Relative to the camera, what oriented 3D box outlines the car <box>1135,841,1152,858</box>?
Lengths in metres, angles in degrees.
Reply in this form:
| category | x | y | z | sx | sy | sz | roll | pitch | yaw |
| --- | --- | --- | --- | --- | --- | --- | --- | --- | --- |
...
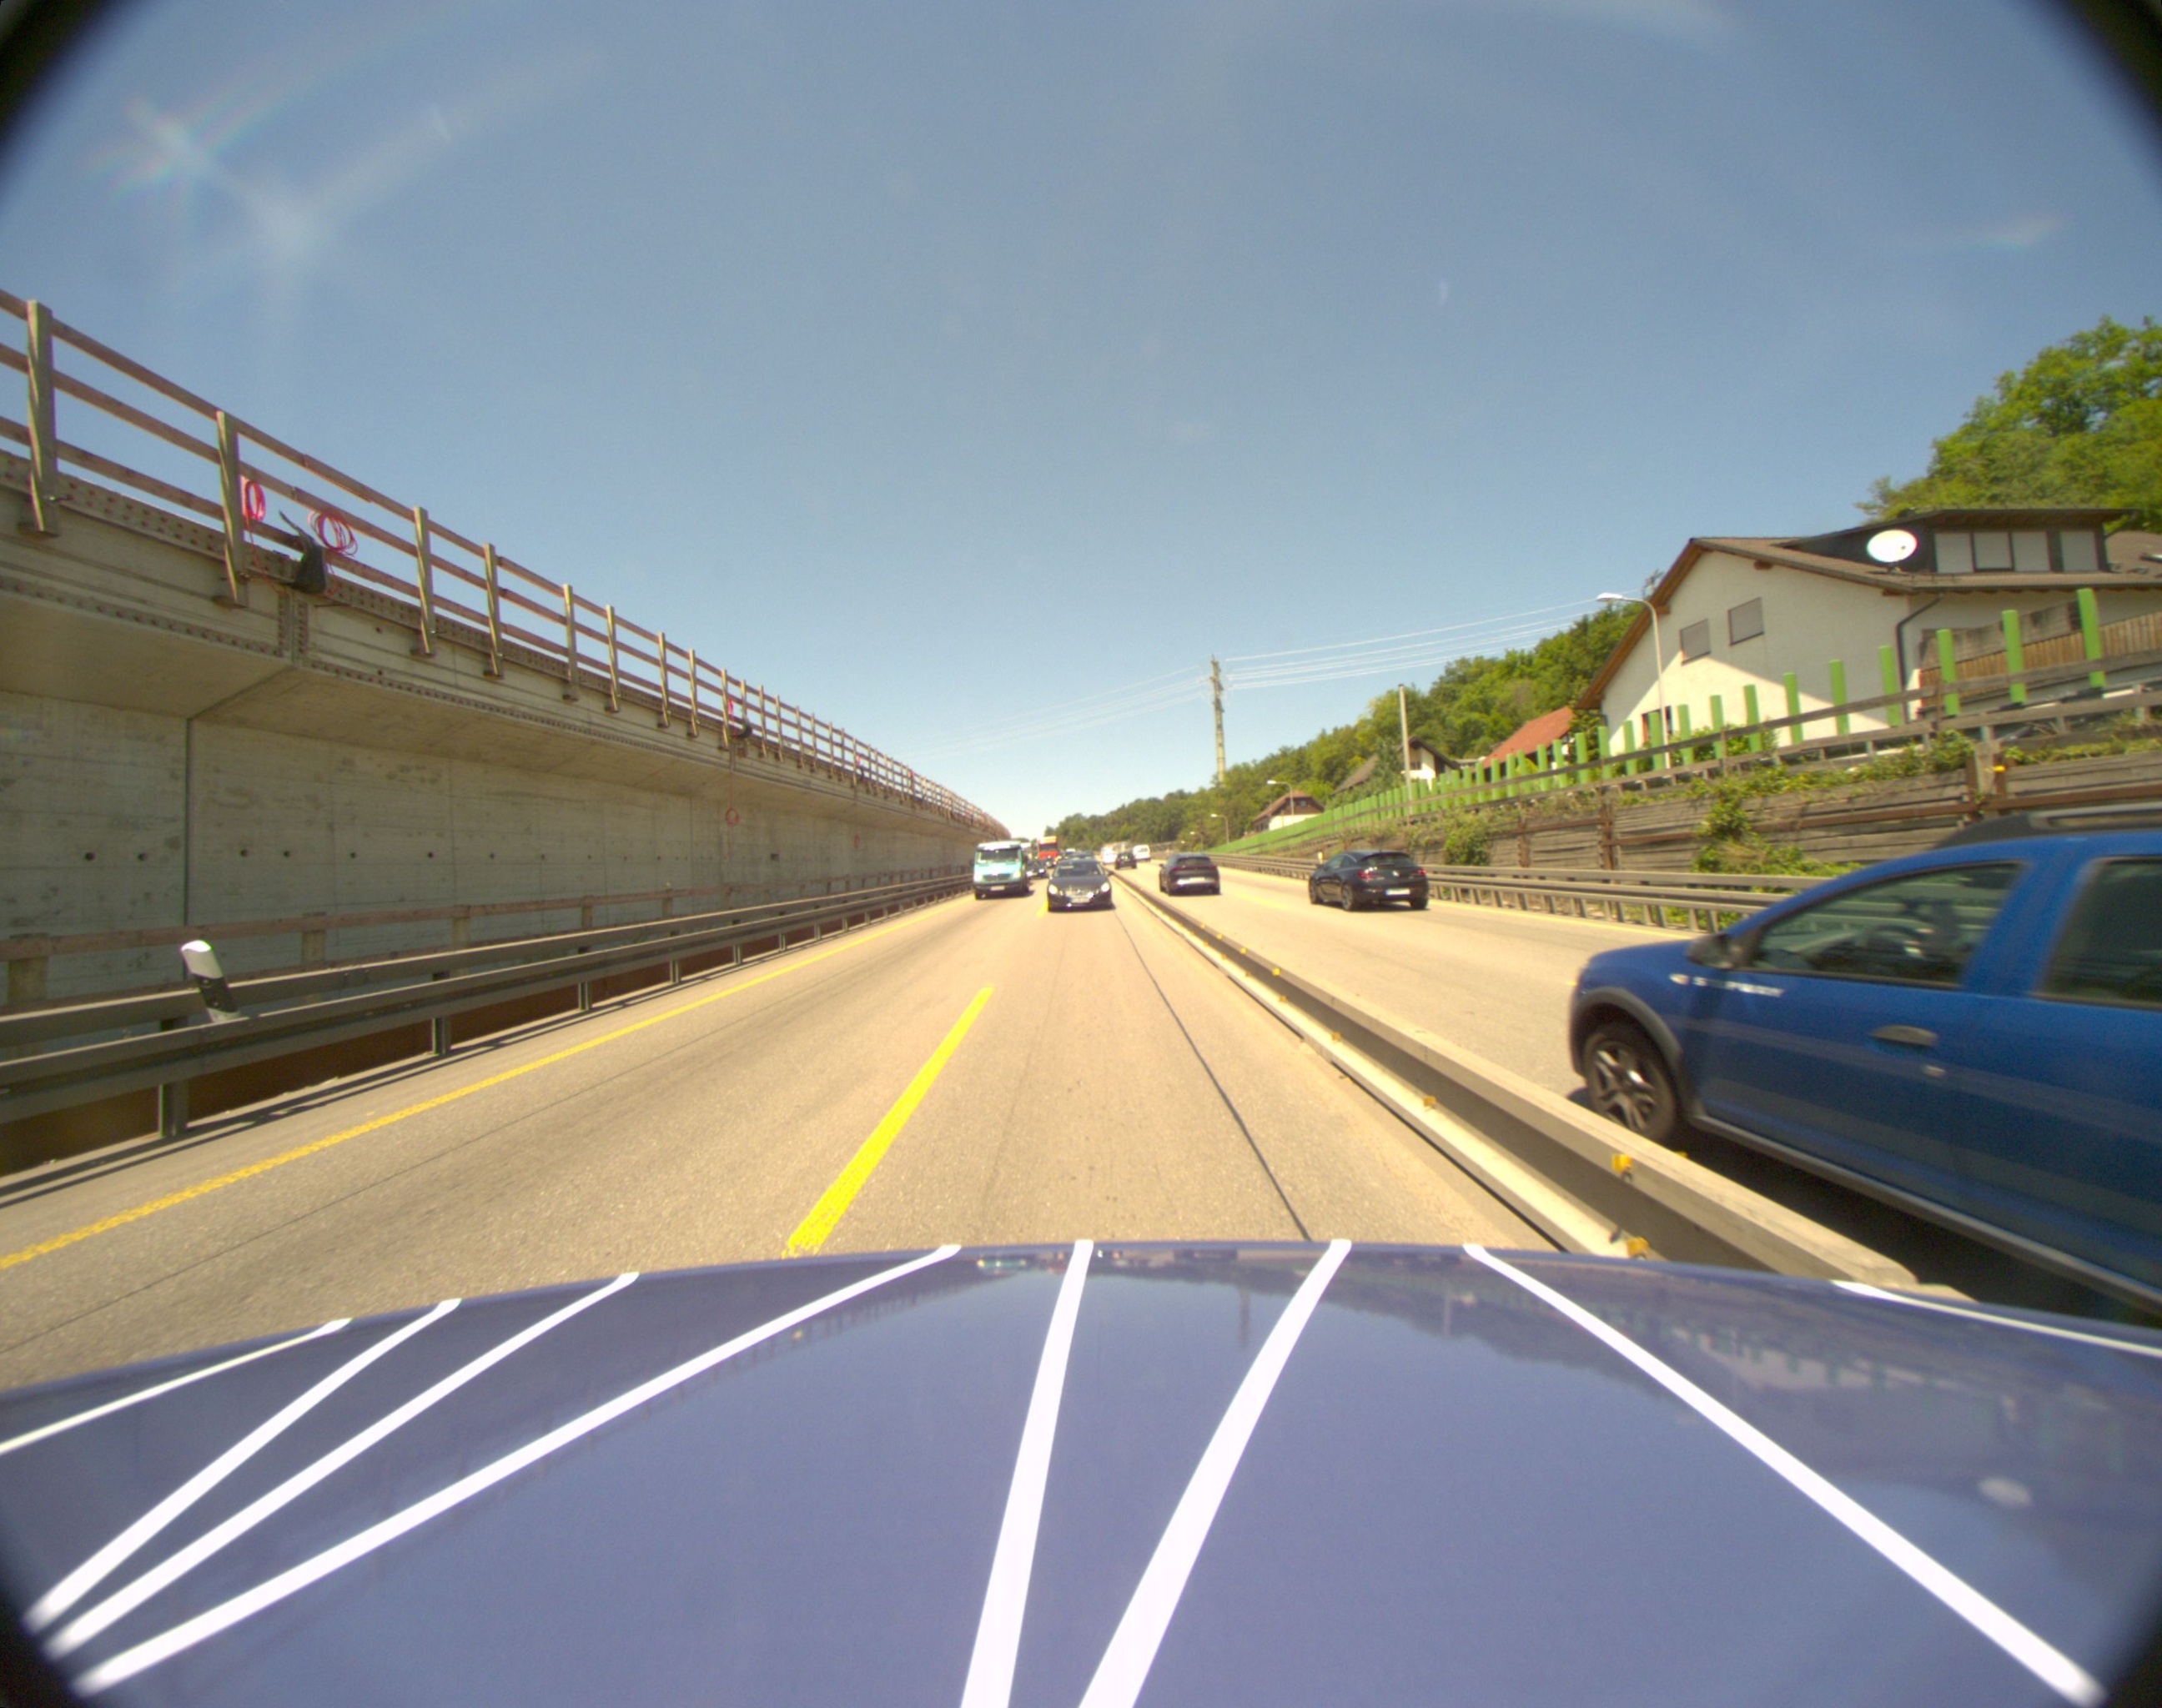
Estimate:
| category | x | y | z | sx | sy | sz | roll | pitch | yaw |
| --- | --- | --- | --- | --- | --- | --- | --- | --- | --- |
| car | 7.083 | -0.538 | 86.608 | 1.600 | 1.823 | 4.752 | -2 | 1 | 0 |

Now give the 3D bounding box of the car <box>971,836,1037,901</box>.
| category | x | y | z | sx | sy | sz | roll | pitch | yaw |
| --- | --- | --- | --- | --- | --- | --- | --- | --- | --- |
| car | -3.168 | 0.536 | 32.843 | 1.968 | 2.367 | 7.209 | -4 | 1 | 0 |

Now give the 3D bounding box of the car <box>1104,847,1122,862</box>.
| category | x | y | z | sx | sy | sz | roll | pitch | yaw |
| --- | --- | --- | --- | --- | --- | --- | --- | --- | --- |
| car | 3.574 | 0.039 | 85.703 | 1.737 | 1.429 | 4.257 | -4 | 1 | 0 |

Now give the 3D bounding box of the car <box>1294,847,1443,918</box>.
| category | x | y | z | sx | sy | sz | roll | pitch | yaw |
| --- | --- | --- | --- | --- | --- | --- | --- | --- | --- |
| car | 7.080 | 0.604 | 19.355 | 1.818 | 1.440 | 5.006 | -4 | 1 | 0 |

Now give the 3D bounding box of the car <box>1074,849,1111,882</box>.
| category | x | y | z | sx | sy | sz | roll | pitch | yaw |
| --- | --- | --- | --- | --- | --- | --- | --- | --- | --- |
| car | 0.638 | 0.627 | 44.171 | 1.860 | 1.650 | 3.999 | -5 | 1 | -1 |

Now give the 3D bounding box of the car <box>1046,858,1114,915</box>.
| category | x | y | z | sx | sy | sz | roll | pitch | yaw |
| --- | --- | --- | --- | --- | --- | --- | --- | --- | --- |
| car | -0.101 | 0.892 | 22.796 | 1.793 | 1.440 | 4.296 | -2 | 0 | -2 |

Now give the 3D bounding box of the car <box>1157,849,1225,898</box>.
| category | x | y | z | sx | sy | sz | roll | pitch | yaw |
| --- | --- | --- | --- | --- | --- | --- | --- | --- | --- |
| car | 3.928 | 0.653 | 27.858 | 1.847 | 1.521 | 4.293 | -2 | 1 | 0 |

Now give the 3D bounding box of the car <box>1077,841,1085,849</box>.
| category | x | y | z | sx | sy | sz | roll | pitch | yaw |
| --- | --- | --- | --- | --- | --- | --- | --- | --- | --- |
| car | 0.067 | -2.383 | 204.139 | 1.998 | 2.002 | 4.000 | -2 | 0 | 0 |

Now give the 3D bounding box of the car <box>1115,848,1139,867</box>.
| category | x | y | z | sx | sy | sz | roll | pitch | yaw |
| --- | --- | --- | --- | --- | --- | --- | --- | --- | --- |
| car | 3.829 | 0.273 | 63.674 | 1.610 | 1.438 | 4.668 | -2 | 1 | -1 |

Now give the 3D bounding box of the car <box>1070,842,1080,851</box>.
| category | x | y | z | sx | sy | sz | roll | pitch | yaw |
| --- | --- | --- | --- | --- | --- | --- | --- | --- | --- |
| car | -1.367 | -1.759 | 169.170 | 2.163 | 1.895 | 5.325 | -4 | 1 | 0 |

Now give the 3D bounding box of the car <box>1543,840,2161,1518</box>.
| category | x | y | z | sx | sy | sz | roll | pitch | yaw |
| --- | --- | --- | --- | --- | --- | --- | --- | --- | --- |
| car | 3.472 | 0.774 | 2.299 | 1.768 | 1.601 | 3.892 | -2 | 0 | 0 |

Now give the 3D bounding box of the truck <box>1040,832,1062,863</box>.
| category | x | y | z | sx | sy | sz | roll | pitch | yaw |
| --- | --- | --- | --- | --- | --- | --- | --- | --- | --- |
| truck | -4.193 | -0.955 | 107.012 | 2.651 | 3.978 | 11.192 | -5 | 1 | -2 |

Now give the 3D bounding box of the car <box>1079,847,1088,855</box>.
| category | x | y | z | sx | sy | sz | roll | pitch | yaw |
| --- | --- | --- | --- | --- | --- | --- | --- | --- | --- |
| car | 0.539 | -0.719 | 183.012 | 1.999 | 1.816 | 4.507 | -2 | 0 | -1 |

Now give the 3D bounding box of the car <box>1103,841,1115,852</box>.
| category | x | y | z | sx | sy | sz | roll | pitch | yaw |
| --- | --- | --- | --- | --- | --- | --- | --- | --- | --- |
| car | 4.925 | -1.298 | 135.201 | 1.829 | 1.914 | 5.243 | -4 | 0 | 1 |

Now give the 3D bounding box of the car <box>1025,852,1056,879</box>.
| category | x | y | z | sx | sy | sz | roll | pitch | yaw |
| --- | --- | --- | --- | --- | --- | --- | --- | --- | --- |
| car | -2.890 | 0.777 | 55.226 | 1.859 | 1.650 | 3.999 | -5 | 1 | 0 |

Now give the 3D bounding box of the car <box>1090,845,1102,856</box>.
| category | x | y | z | sx | sy | sz | roll | pitch | yaw |
| --- | --- | --- | --- | --- | --- | --- | --- | --- | --- |
| car | 2.444 | -0.593 | 125.556 | 1.779 | 1.624 | 4.100 | -3 | 0 | 0 |

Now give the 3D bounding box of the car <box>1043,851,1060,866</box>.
| category | x | y | z | sx | sy | sz | roll | pitch | yaw |
| --- | --- | --- | --- | --- | --- | --- | --- | --- | --- |
| car | -3.534 | 0.504 | 91.347 | 1.674 | 1.499 | 3.647 | -5 | 1 | 0 |
